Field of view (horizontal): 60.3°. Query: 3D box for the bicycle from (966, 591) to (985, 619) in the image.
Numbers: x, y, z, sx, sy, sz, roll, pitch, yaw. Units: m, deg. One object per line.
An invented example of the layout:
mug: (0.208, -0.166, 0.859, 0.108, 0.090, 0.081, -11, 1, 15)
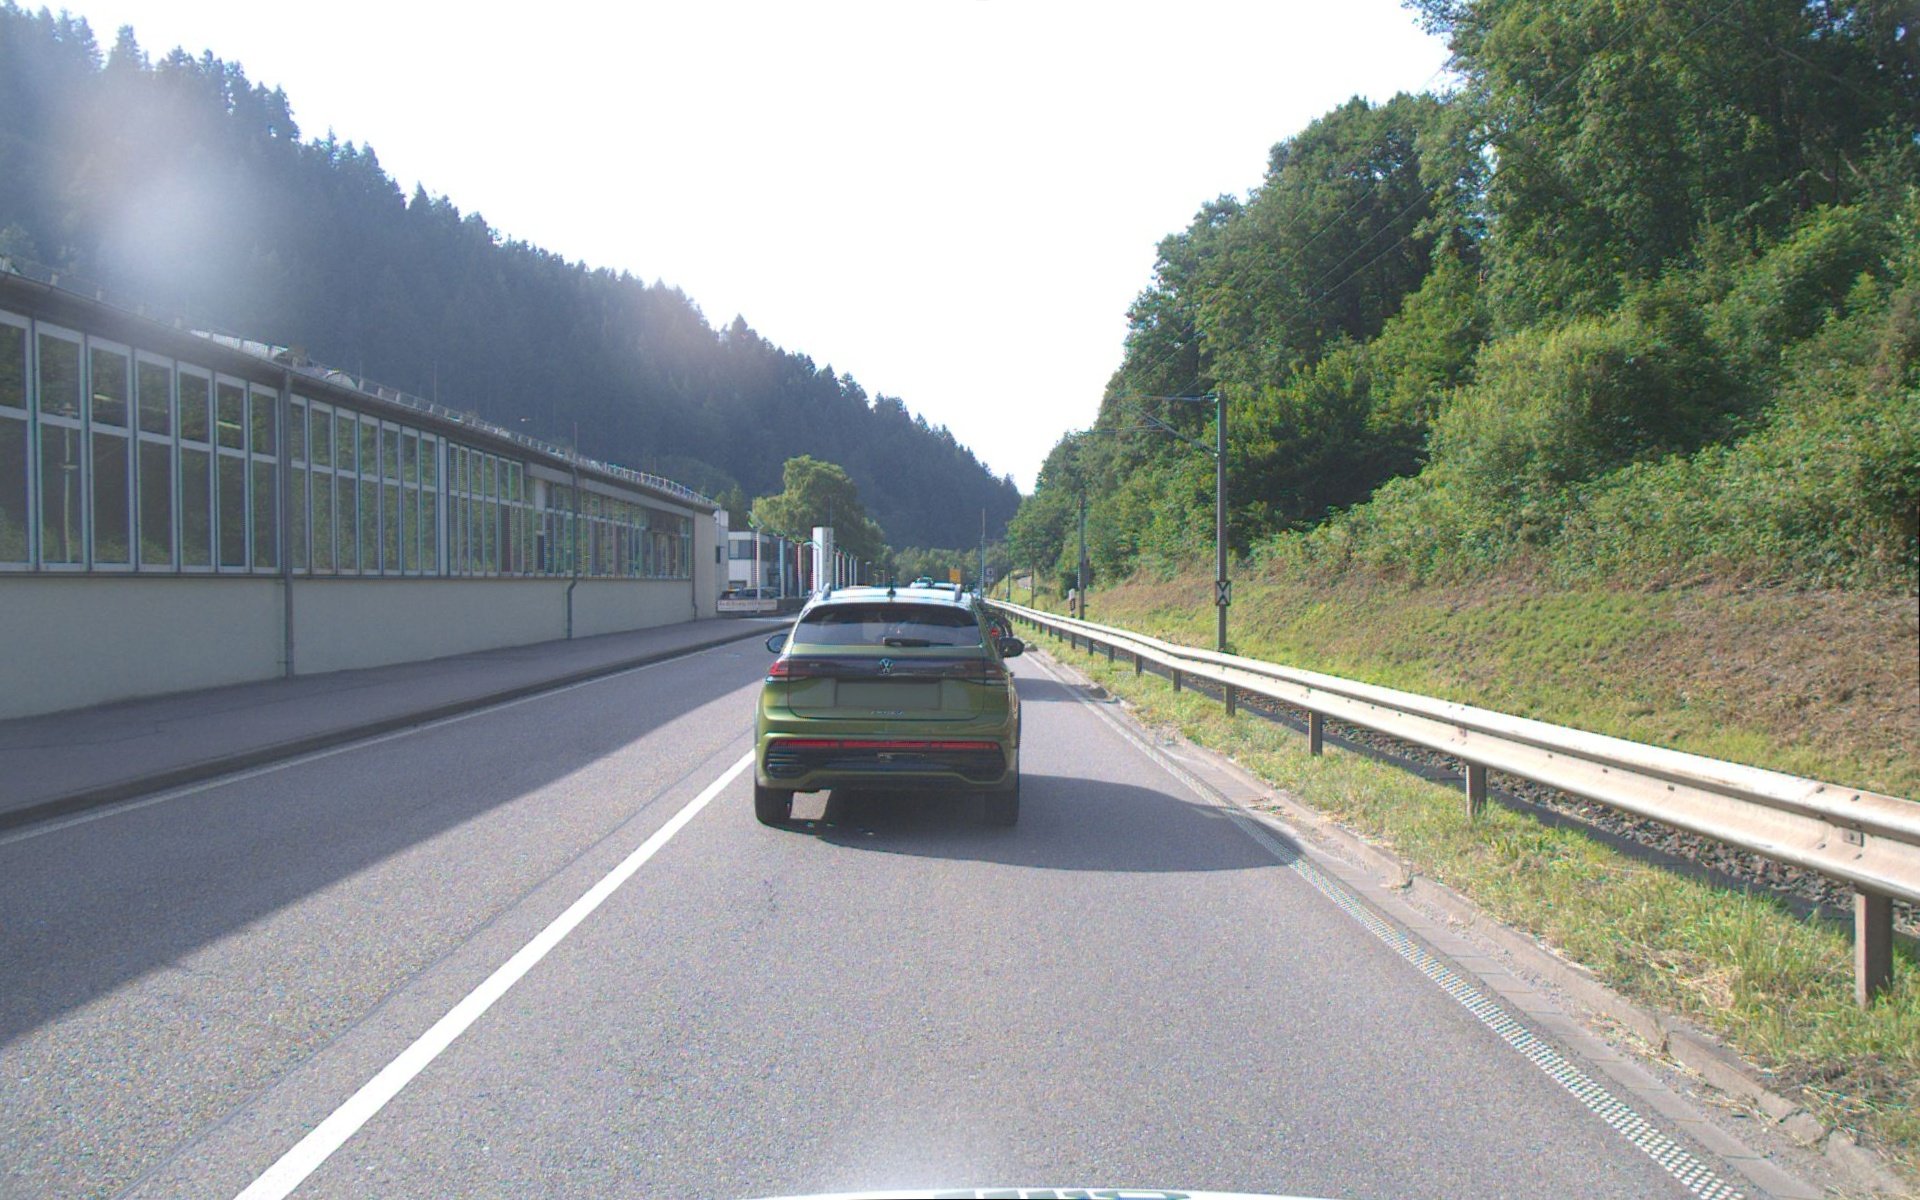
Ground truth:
bicycle: (0.712, 0.206, 77.136, 0.795, 1.272, 2.121, 0, 0, -3)

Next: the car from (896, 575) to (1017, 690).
car: (-0.111, 0.445, 25.496, 1.704, 1.630, 3.999, 0, 0, -2)

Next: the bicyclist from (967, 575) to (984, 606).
bicyclist: (0.723, -0.422, 77.035, 0.766, 1.436, 0.674, 0, 0, -3)

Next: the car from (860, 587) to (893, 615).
car: (-4.794, 0.038, 95.089, 1.737, 1.516, 4.051, 1, 1, -1)

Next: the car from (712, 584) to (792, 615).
car: (-11.129, -0.030, 88.774, 1.854, 1.619, 4.153, 0, 0, 40)

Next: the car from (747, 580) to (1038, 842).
car: (-0.454, 0.634, 11.700, 1.704, 1.534, 3.999, 0, 0, -2)

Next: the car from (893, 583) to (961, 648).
car: (-0.890, 0.375, 43.681, 1.704, 1.630, 3.999, 0, 0, -2)

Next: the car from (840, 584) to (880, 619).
car: (-4.635, 0.031, 77.245, 1.684, 1.540, 4.198, 1, 1, -1)
